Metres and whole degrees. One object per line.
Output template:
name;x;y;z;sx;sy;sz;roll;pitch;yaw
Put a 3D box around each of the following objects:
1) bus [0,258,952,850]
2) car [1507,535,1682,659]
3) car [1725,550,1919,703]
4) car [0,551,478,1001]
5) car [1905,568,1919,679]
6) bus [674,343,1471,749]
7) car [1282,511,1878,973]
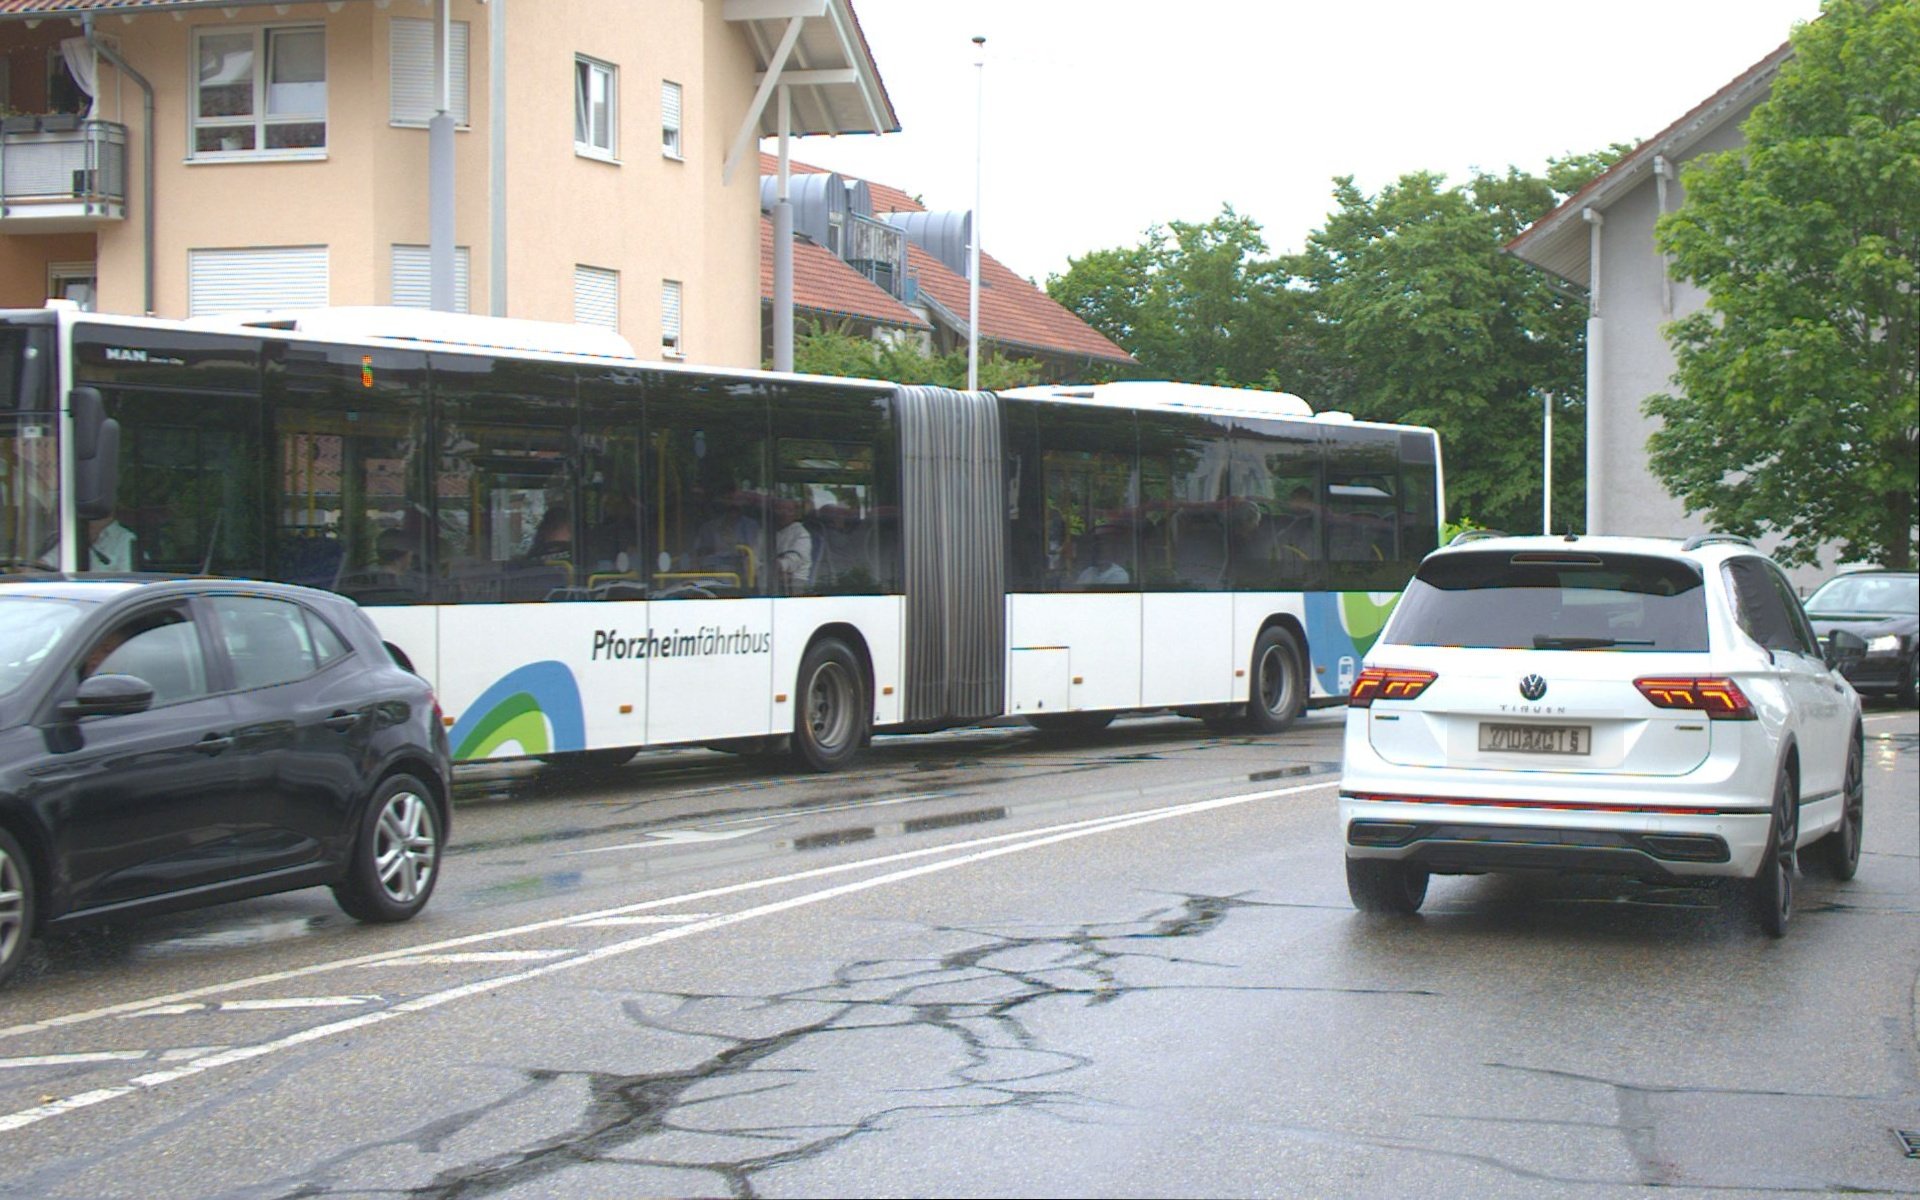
bus;-3.436;-0.295;21.997;2.550;2.990;9.189;-1;1;29
car;9.348;-0.014;50.435;1.995;1.645;3.996;2;-1;17
car;9.788;0.250;36.403;1.863;1.513;4.284;0;0;34
car;-3.753;0.598;12.951;1.953;1.514;4.169;-1;0;23
car;14.005;0.269;44.916;1.592;1.417;3.685;0;1;45
bus;1.278;-0.457;29.496;2.591;2.990;8.389;-1;1;35
car;2.942;0.498;15.515;1.923;1.716;4.261;2;2;20
